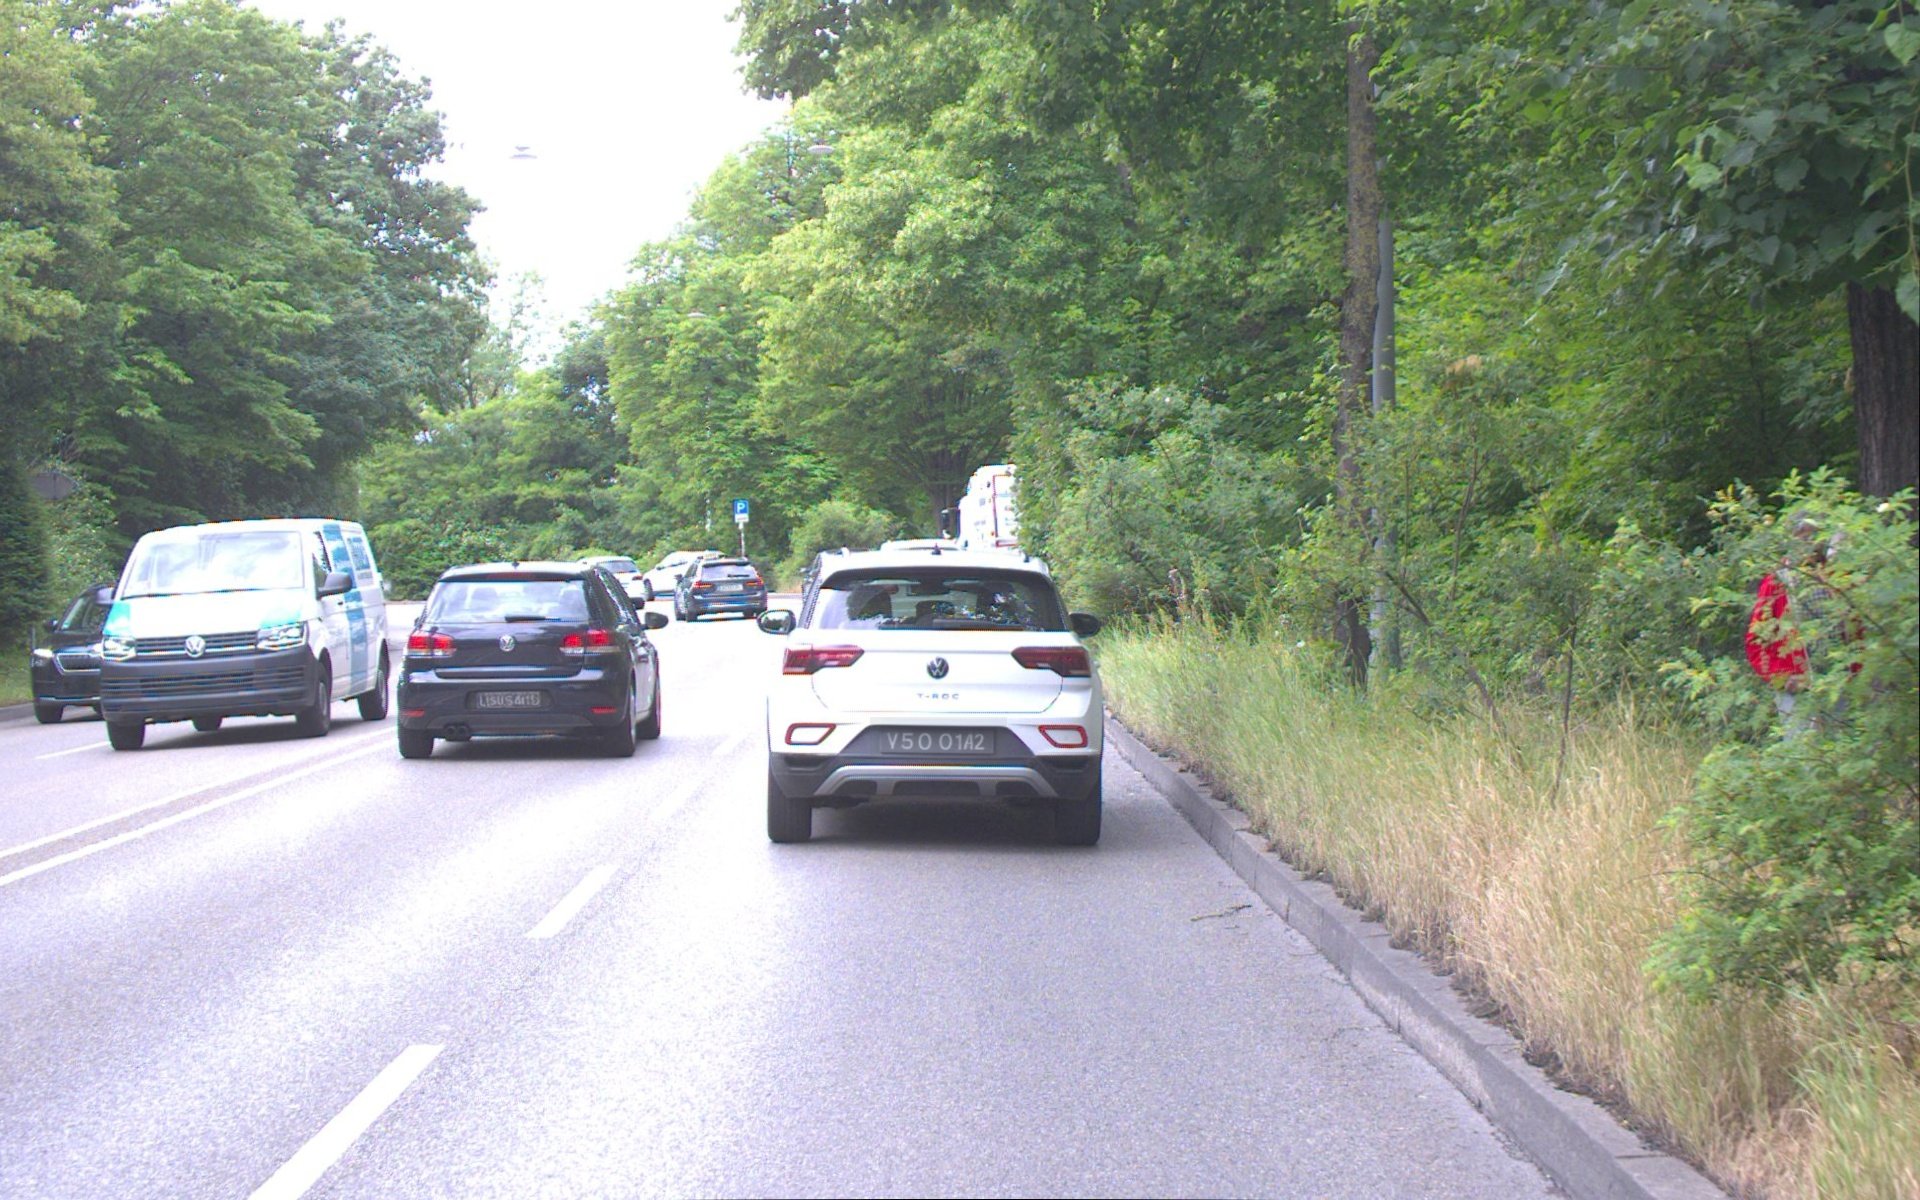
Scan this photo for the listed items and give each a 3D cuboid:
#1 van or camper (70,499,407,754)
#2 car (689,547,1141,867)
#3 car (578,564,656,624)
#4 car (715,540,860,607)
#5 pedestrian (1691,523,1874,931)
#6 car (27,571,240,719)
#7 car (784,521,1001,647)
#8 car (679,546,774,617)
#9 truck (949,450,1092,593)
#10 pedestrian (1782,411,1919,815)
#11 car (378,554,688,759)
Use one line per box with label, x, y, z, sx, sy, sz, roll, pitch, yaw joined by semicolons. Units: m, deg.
van or camper;-6.500;0.208;31.609;1.993;2.007;5.369;-4;0;-2
car;-0.372;0.526;19.175;2.000;1.590;4.001;0;0;-8
car;-9.624;-0.173;96.553;1.821;1.617;4.000;0;0;-1
car;-4.232;-0.646;83.843;1.766;1.601;4.000;0;0;-33
pedestrian;3.473;0.527;14.541;0.608;1.692;0.549;0;0;-4
car;-9.357;0.478;39.164;1.475;1.590;4.000;0;0;0
car;-1.058;-0.252;51.316;1.851;1.697;4.001;-4;2;-22
car;-5.420;-0.429;80.177;1.993;1.587;4.000;0;0;-1
truck;1.349;-1.764;80.428;2.481;3.171;7.230;0;0;-6
pedestrian;3.963;0.058;15.145;0.519;1.747;0.525;0;0;-4
car;-3.228;0.396;26.730;1.949;1.461;4.000;0;0;-1
